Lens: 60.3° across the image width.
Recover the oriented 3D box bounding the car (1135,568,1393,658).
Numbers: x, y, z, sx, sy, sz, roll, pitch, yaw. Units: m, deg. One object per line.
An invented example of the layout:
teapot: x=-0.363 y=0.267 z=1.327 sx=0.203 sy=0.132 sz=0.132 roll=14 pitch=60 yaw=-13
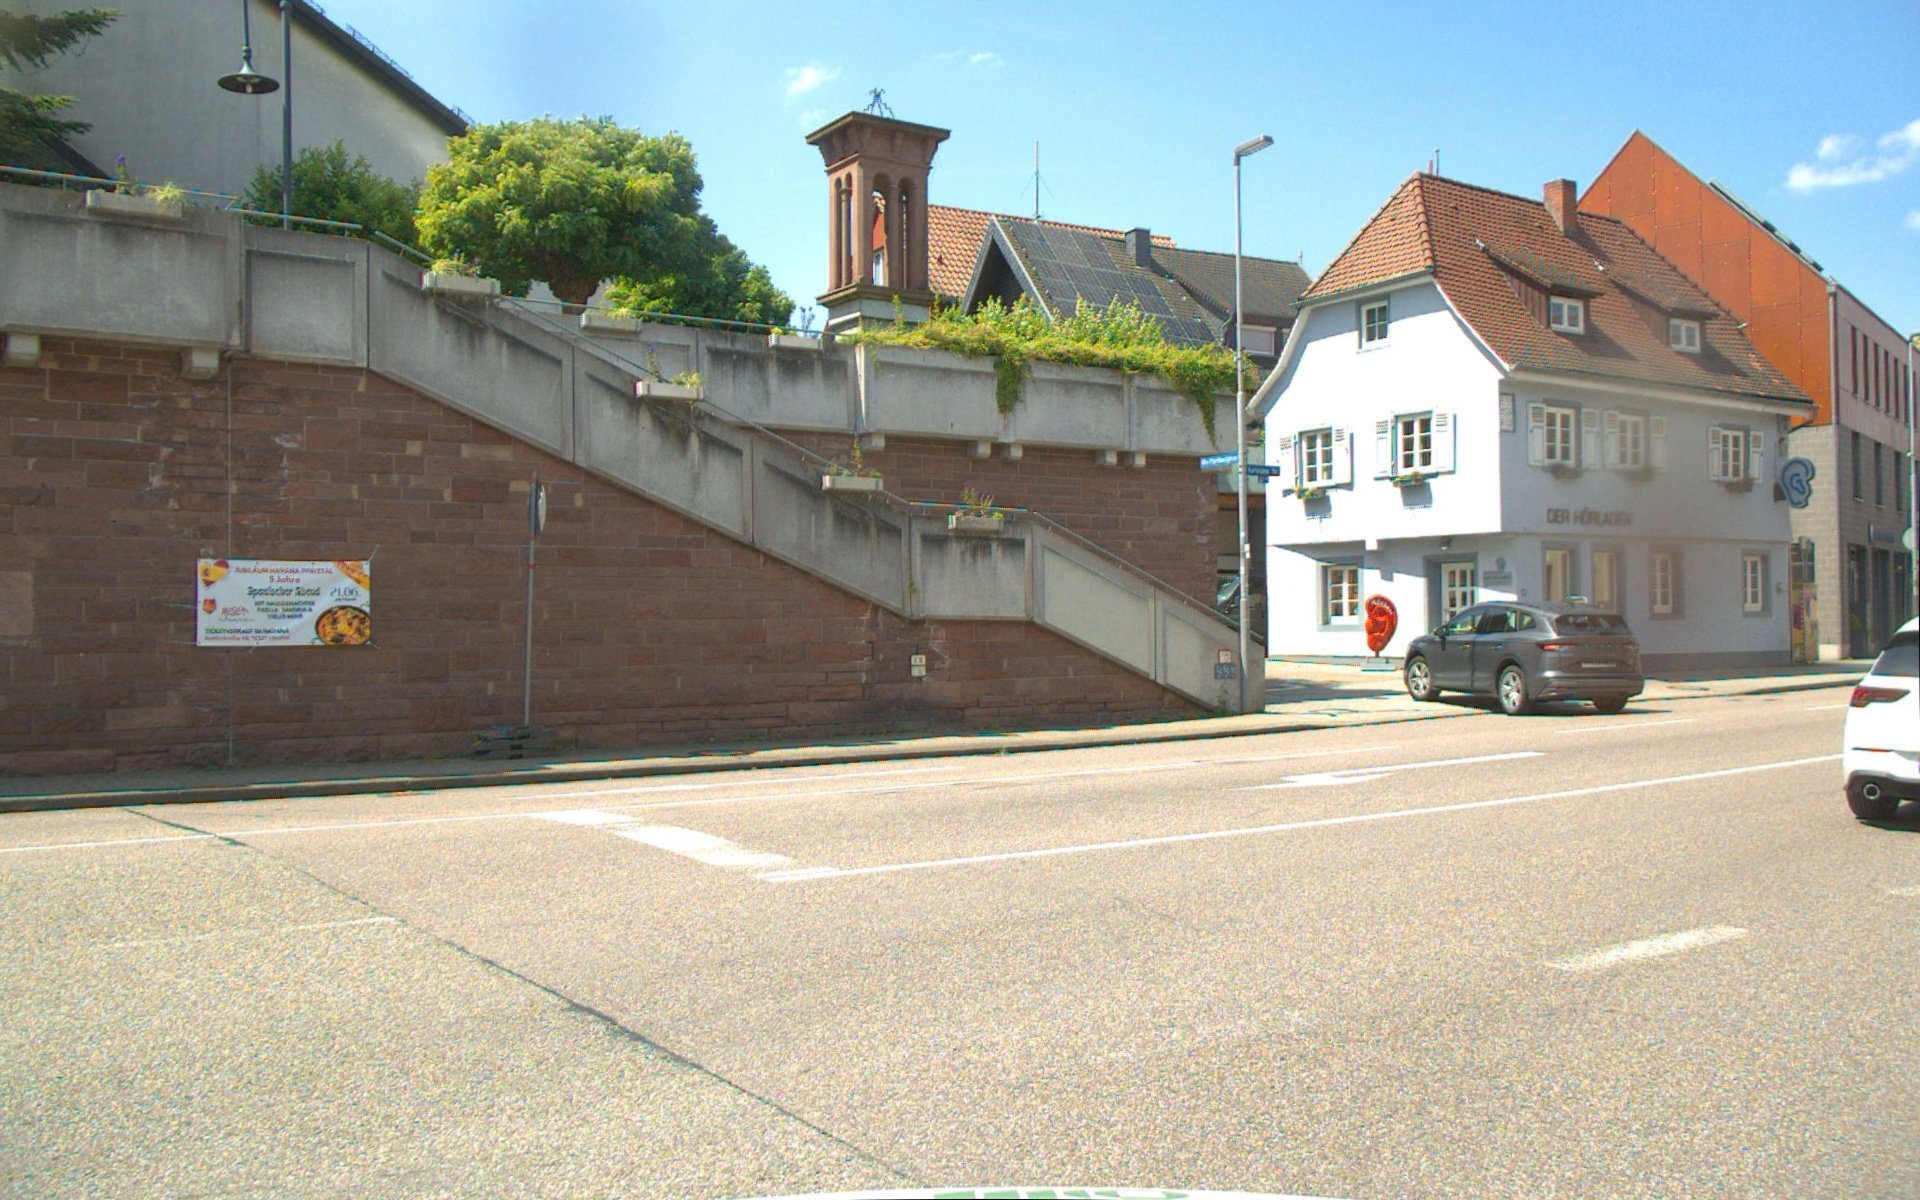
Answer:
car: x=7.481 y=0.322 z=40.630 sx=5.903 sy=2.049 sz=2.503 roll=0 pitch=-2 yaw=-26

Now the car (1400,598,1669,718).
car: x=8.652 y=0.802 z=25.355 sx=1.915 sy=1.610 sz=4.312 roll=0 pitch=1 yaw=-13

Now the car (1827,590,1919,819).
car: x=7.785 y=0.682 z=11.830 sx=1.759 sy=1.484 sz=3.835 roll=-1 pitch=-1 yaw=45
